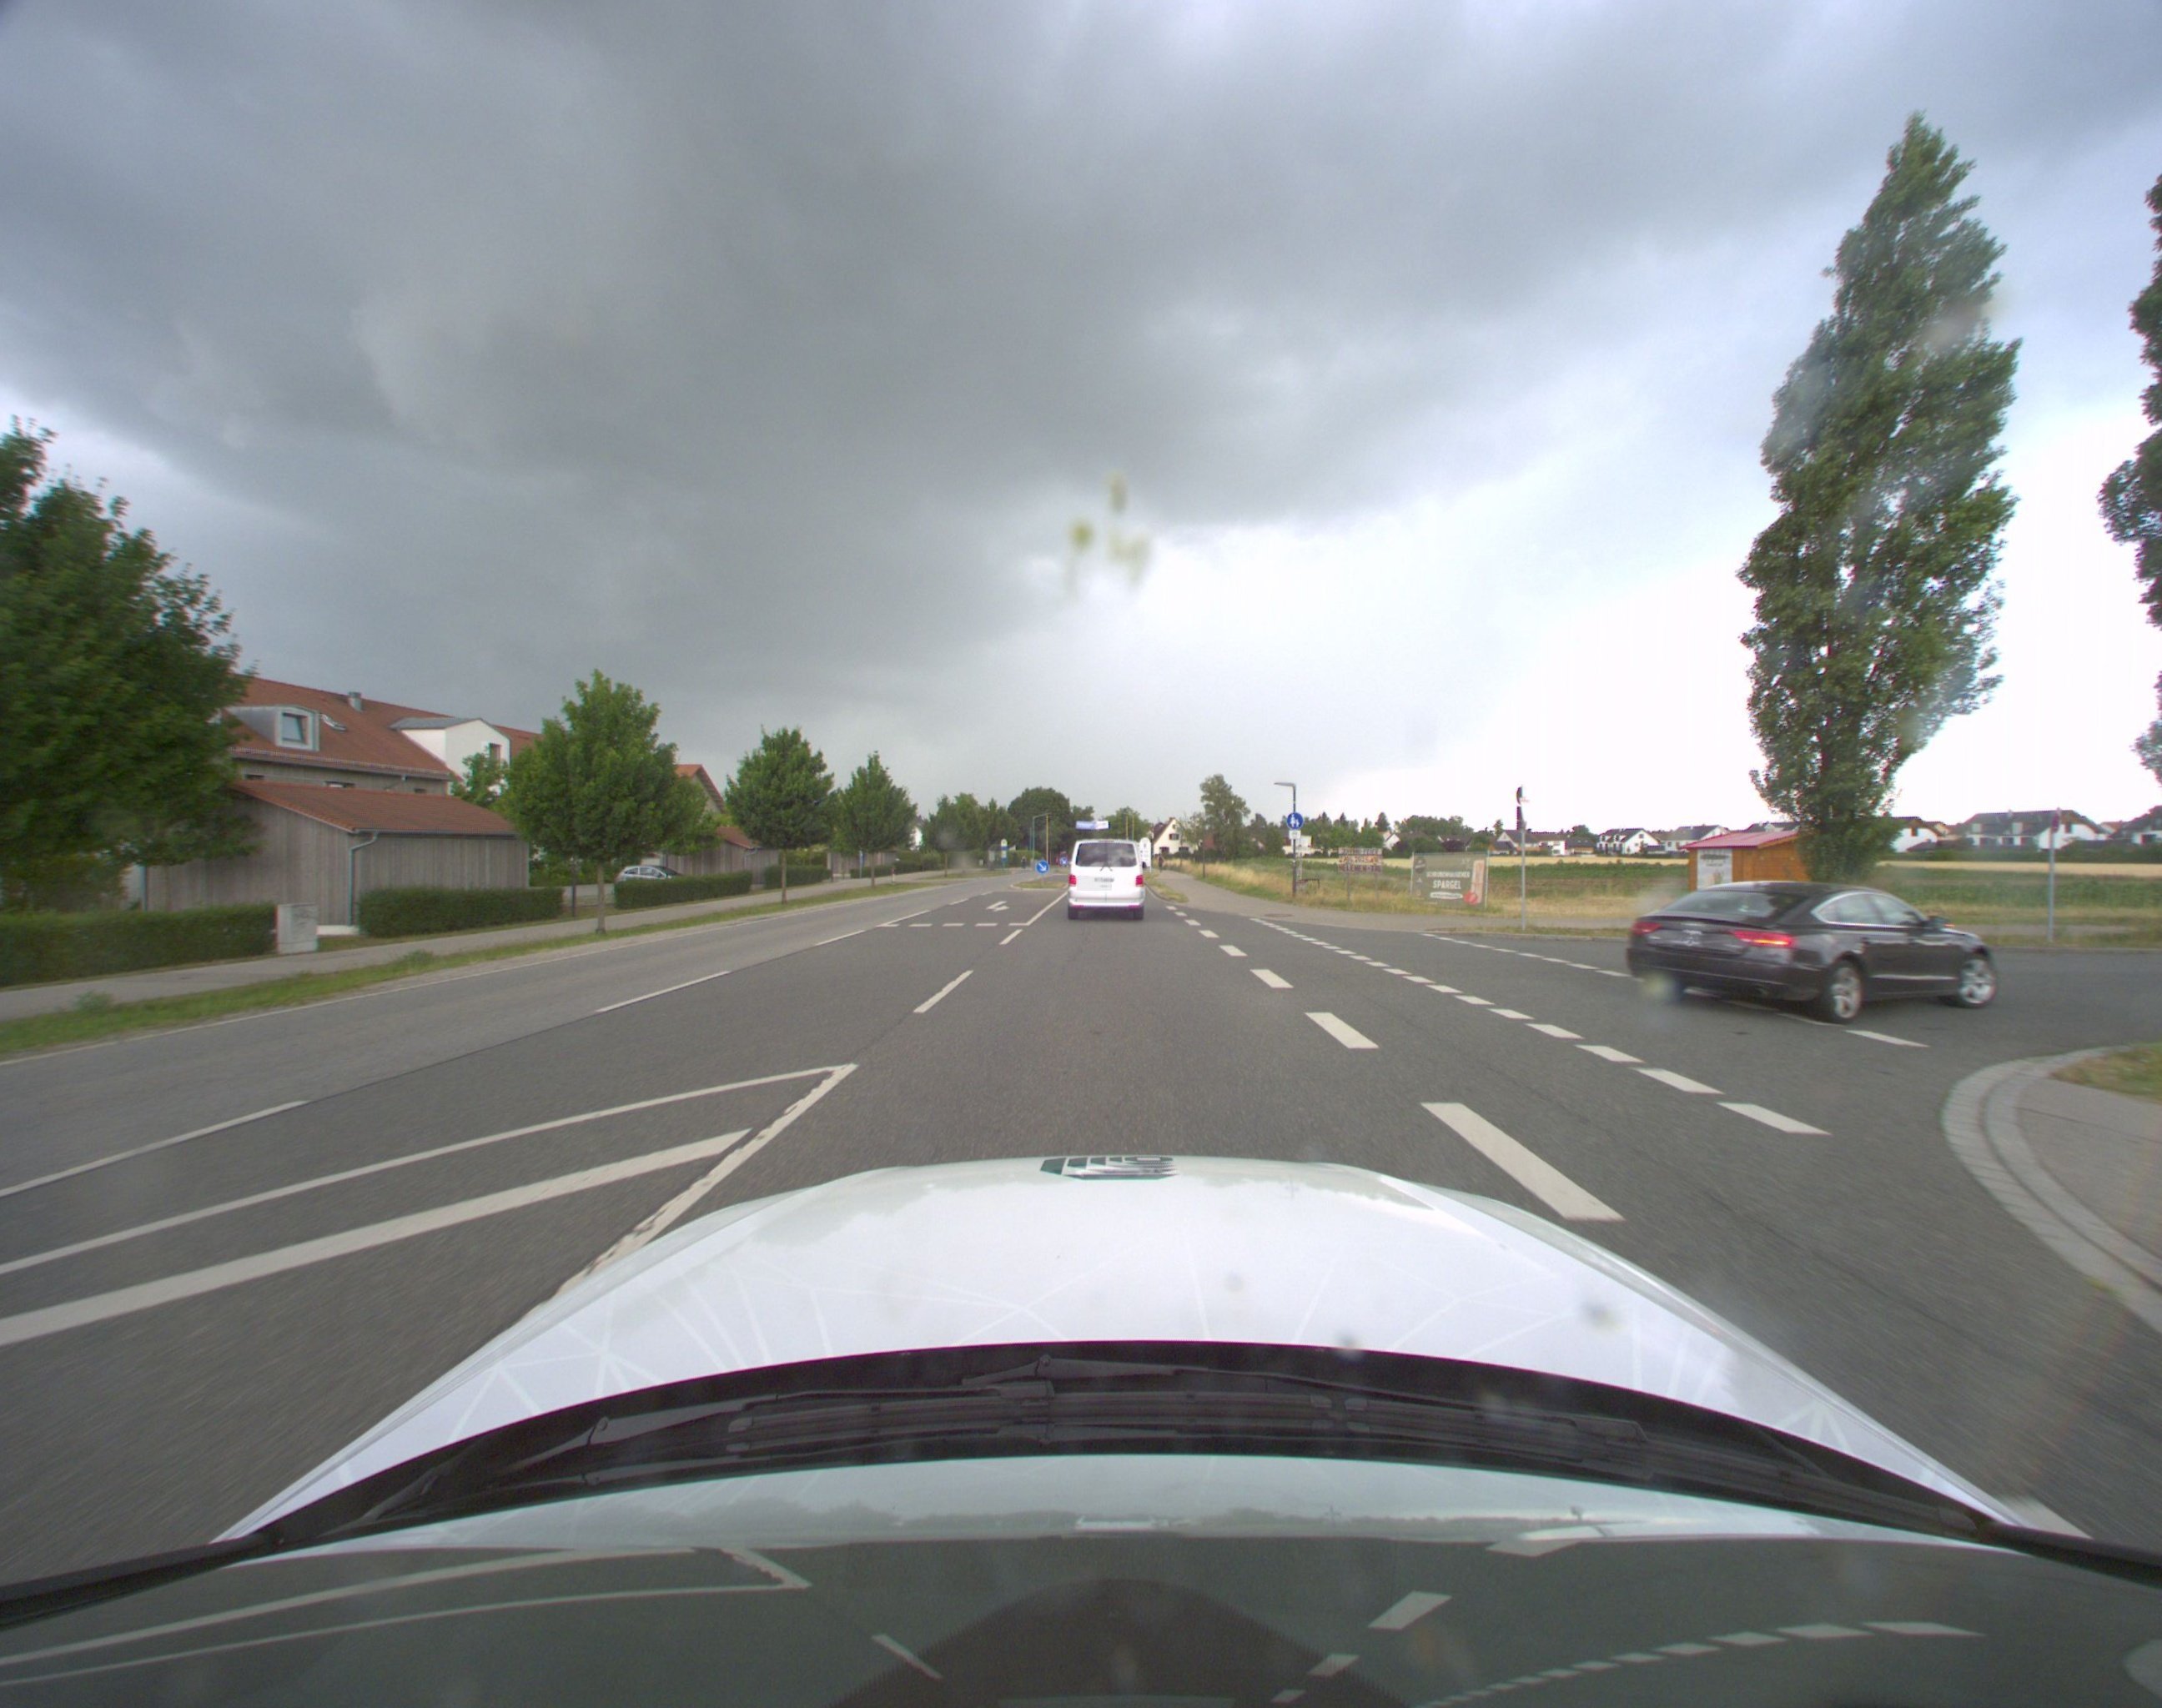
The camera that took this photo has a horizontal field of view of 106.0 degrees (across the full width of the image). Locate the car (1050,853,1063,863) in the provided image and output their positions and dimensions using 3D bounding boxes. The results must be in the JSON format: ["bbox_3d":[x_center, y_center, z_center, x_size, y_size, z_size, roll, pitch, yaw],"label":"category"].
[{"bbox_3d":[-3.789,0.664,125.689,1.647,1.429,3.603,-2,0,1],"label":"car"}]

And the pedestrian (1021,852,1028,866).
[{"bbox_3d":[-6.241,0.578,89.911,0.621,1.525,0.680,-2,0,1],"label":"pedestrian"}]

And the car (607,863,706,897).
[{"bbox_3d":[-21.662,1.298,41.644,3.970,1.556,2.002,1,0,3],"label":"car"}]

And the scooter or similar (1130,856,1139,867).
[{"bbox_3d":[5.505,0.786,84.073,0.845,1.103,1.095,-2,0,2],"label":"scooter or similar"}]

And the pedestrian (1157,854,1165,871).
[{"bbox_3d":[7.255,0.780,73.890,0.621,1.525,0.680,-2,0,1],"label":"pedestrian"}]

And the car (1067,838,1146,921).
[{"bbox_3d":[0.616,0.596,20.985,1.819,1.913,4.000,1,0,0],"label":"car"}]

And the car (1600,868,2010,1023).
[{"bbox_3d":[8.342,0.952,9.373,4.391,1.388,1.818,2,0,-23],"label":"car"}]
